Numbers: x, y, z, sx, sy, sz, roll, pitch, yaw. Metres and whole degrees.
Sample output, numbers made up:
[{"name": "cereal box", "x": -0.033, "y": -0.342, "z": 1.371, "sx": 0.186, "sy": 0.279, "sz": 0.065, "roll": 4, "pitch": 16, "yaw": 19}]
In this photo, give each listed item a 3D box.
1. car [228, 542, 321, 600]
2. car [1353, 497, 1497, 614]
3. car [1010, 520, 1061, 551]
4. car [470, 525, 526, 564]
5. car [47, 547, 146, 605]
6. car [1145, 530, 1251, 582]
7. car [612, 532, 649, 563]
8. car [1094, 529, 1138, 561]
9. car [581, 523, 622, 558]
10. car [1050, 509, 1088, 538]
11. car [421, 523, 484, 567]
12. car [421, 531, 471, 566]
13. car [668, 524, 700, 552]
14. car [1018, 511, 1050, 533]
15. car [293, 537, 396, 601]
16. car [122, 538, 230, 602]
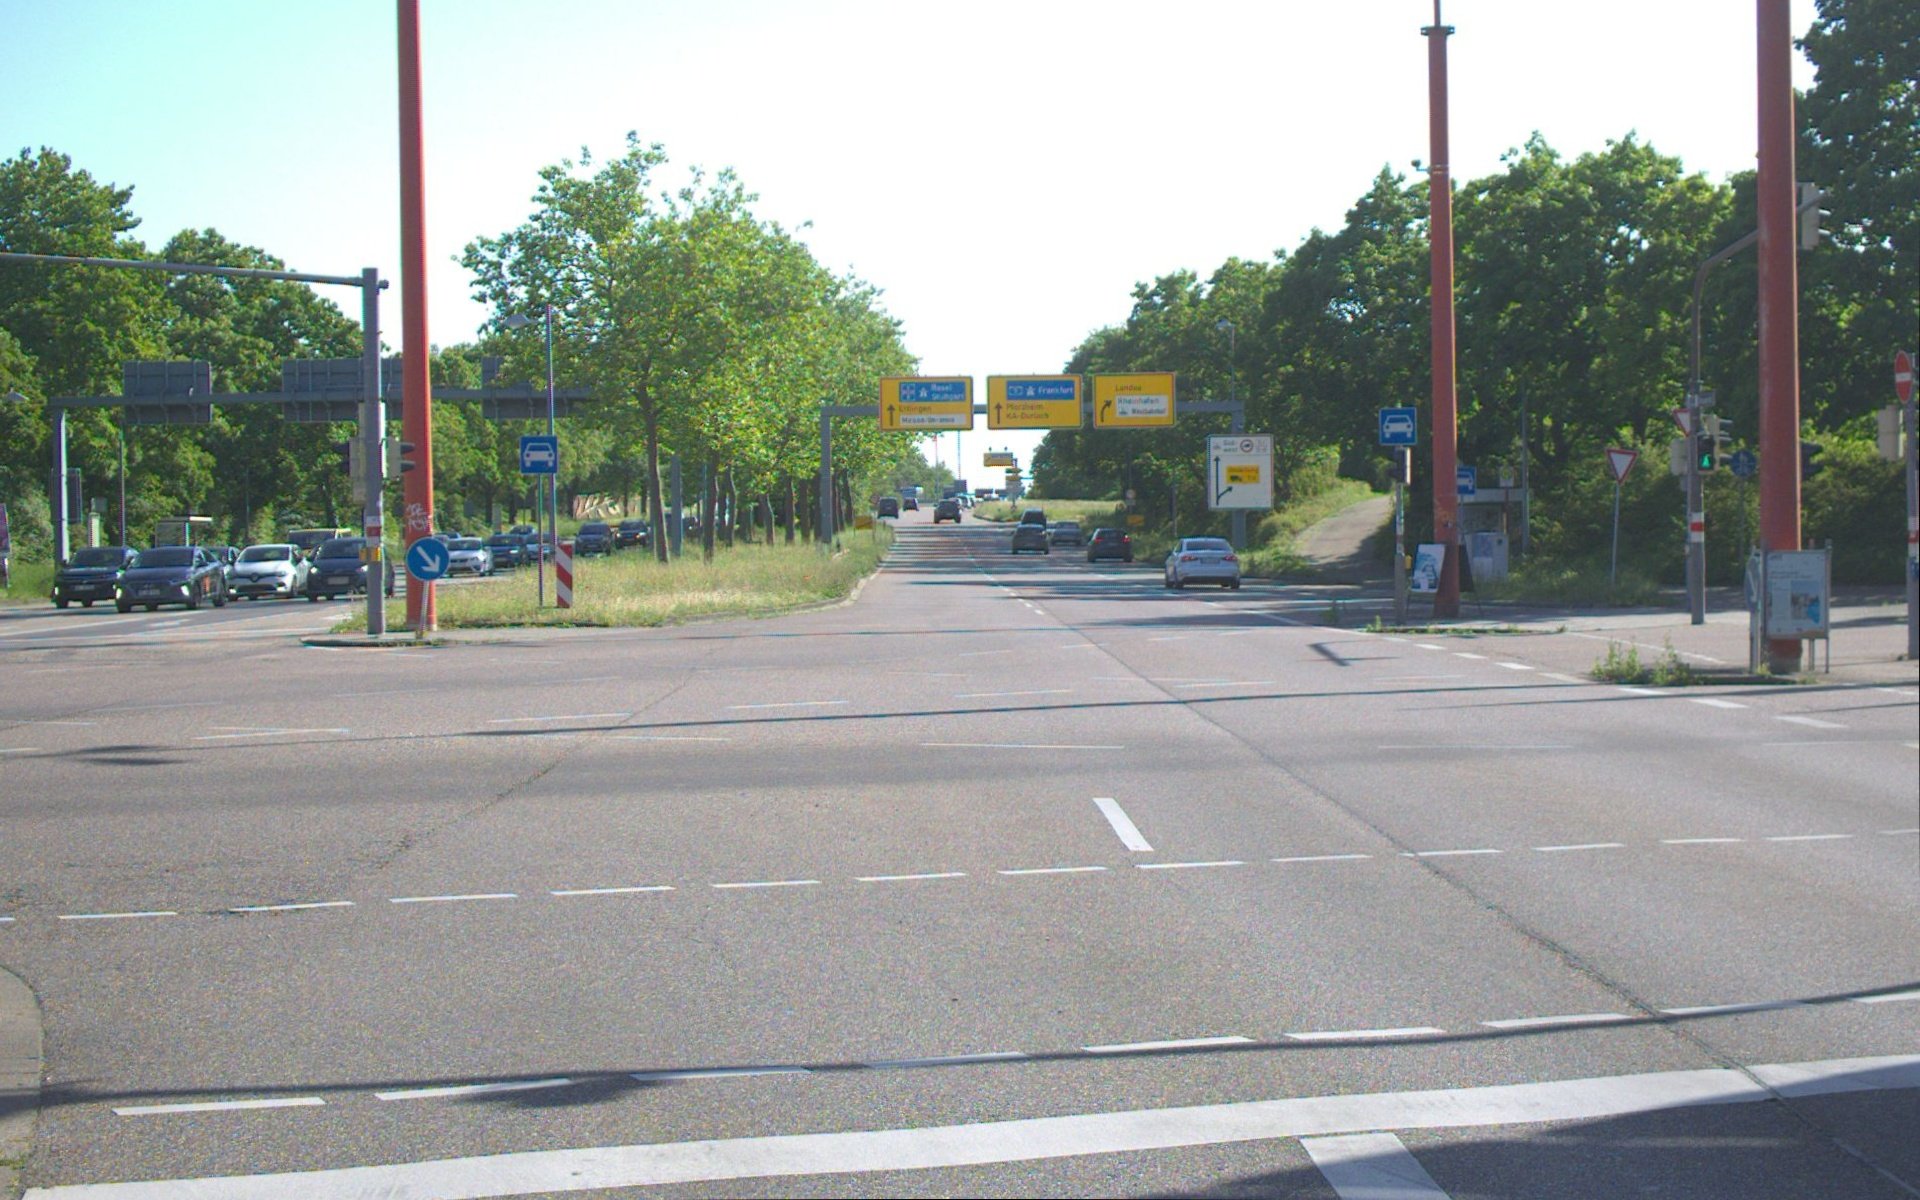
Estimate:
[{"name": "car", "x": -17.857, "y": -0.777, "z": 89.667, "sx": 1.605, "sy": 1.454, "sz": 3.950, "roll": -1, "pitch": 1, "yaw": 0}, {"name": "car", "x": 7.876, "y": -0.770, "z": 57.952, "sx": 1.995, "sy": 1.881, "sz": 3.998, "roll": 0, "pitch": 1, "yaw": 14}, {"name": "car", "x": 3.676, "y": -3.169, "z": 168.421, "sx": 1.993, "sy": 1.491, "sz": 4.001, "roll": -1, "pitch": 1, "yaw": -6}, {"name": "car", "x": -18.615, "y": -2.224, "z": 138.567, "sx": 1.704, "sy": 1.553, "sz": 3.803, "roll": 0, "pitch": 1, "yaw": 0}, {"name": "car", "x": -22.349, "y": -0.641, "z": 89.087, "sx": 1.544, "sy": 1.428, "sz": 3.886, "roll": -2, "pitch": 1, "yaw": 0}, {"name": "car", "x": 6.481, "y": -1.226, "z": 94.003, "sx": 2.054, "sy": 1.366, "sz": 4.393, "roll": -1, "pitch": 1, "yaw": -7}, {"name": "car", "x": -18.682, "y": -2.981, "z": 194.911, "sx": 1.657, "sy": 1.741, "sz": 4.000, "roll": 0, "pitch": 1, "yaw": 1}, {"name": "car", "x": 6.627, "y": -2.357, "z": 146.212, "sx": 1.738, "sy": 1.337, "sz": 3.082, "roll": -1, "pitch": 1, "yaw": 0}, {"name": "car", "x": -18.277, "y": -3.046, "z": 175.388, "sx": 1.625, "sy": 1.733, "sz": 4.000, "roll": -1, "pitch": 1, "yaw": 0}, {"name": "car", "x": 6.074, "y": -4.264, "z": 191.973, "sx": 1.993, "sy": 1.535, "sz": 4.000, "roll": 0, "pitch": 1, "yaw": 0}, {"name": "car", "x": -18.608, "y": -2.024, "z": 126.207, "sx": 1.704, "sy": 1.590, "sz": 4.000, "roll": 0, "pitch": 1, "yaw": 1}, {"name": "car", "x": -21.391, "y": -2.133, "z": 143.148, "sx": 1.628, "sy": 1.445, "sz": 3.434, "roll": 0, "pitch": 1, "yaw": -1}, {"name": "car", "x": -17.026, "y": -3.819, "z": 212.064, "sx": 1.607, "sy": 1.724, "sz": 3.789, "roll": 0, "pitch": 1, "yaw": 0}, {"name": "car", "x": 5.254, "y": -5.528, "z": 242.817, "sx": 1.994, "sy": 1.535, "sz": 4.000, "roll": -1, "pitch": 1, "yaw": 5}, {"name": "car", "x": -14.750, "y": -0.745, "z": 82.552, "sx": 1.701, "sy": 1.416, "sz": 4.000, "roll": 2, "pitch": 1, "yaw": 0}, {"name": "car", "x": -17.792, "y": -0.702, "z": 78.163, "sx": 1.548, "sy": 1.372, "sz": 4.263, "roll": -1, "pitch": 1, "yaw": -1}]
